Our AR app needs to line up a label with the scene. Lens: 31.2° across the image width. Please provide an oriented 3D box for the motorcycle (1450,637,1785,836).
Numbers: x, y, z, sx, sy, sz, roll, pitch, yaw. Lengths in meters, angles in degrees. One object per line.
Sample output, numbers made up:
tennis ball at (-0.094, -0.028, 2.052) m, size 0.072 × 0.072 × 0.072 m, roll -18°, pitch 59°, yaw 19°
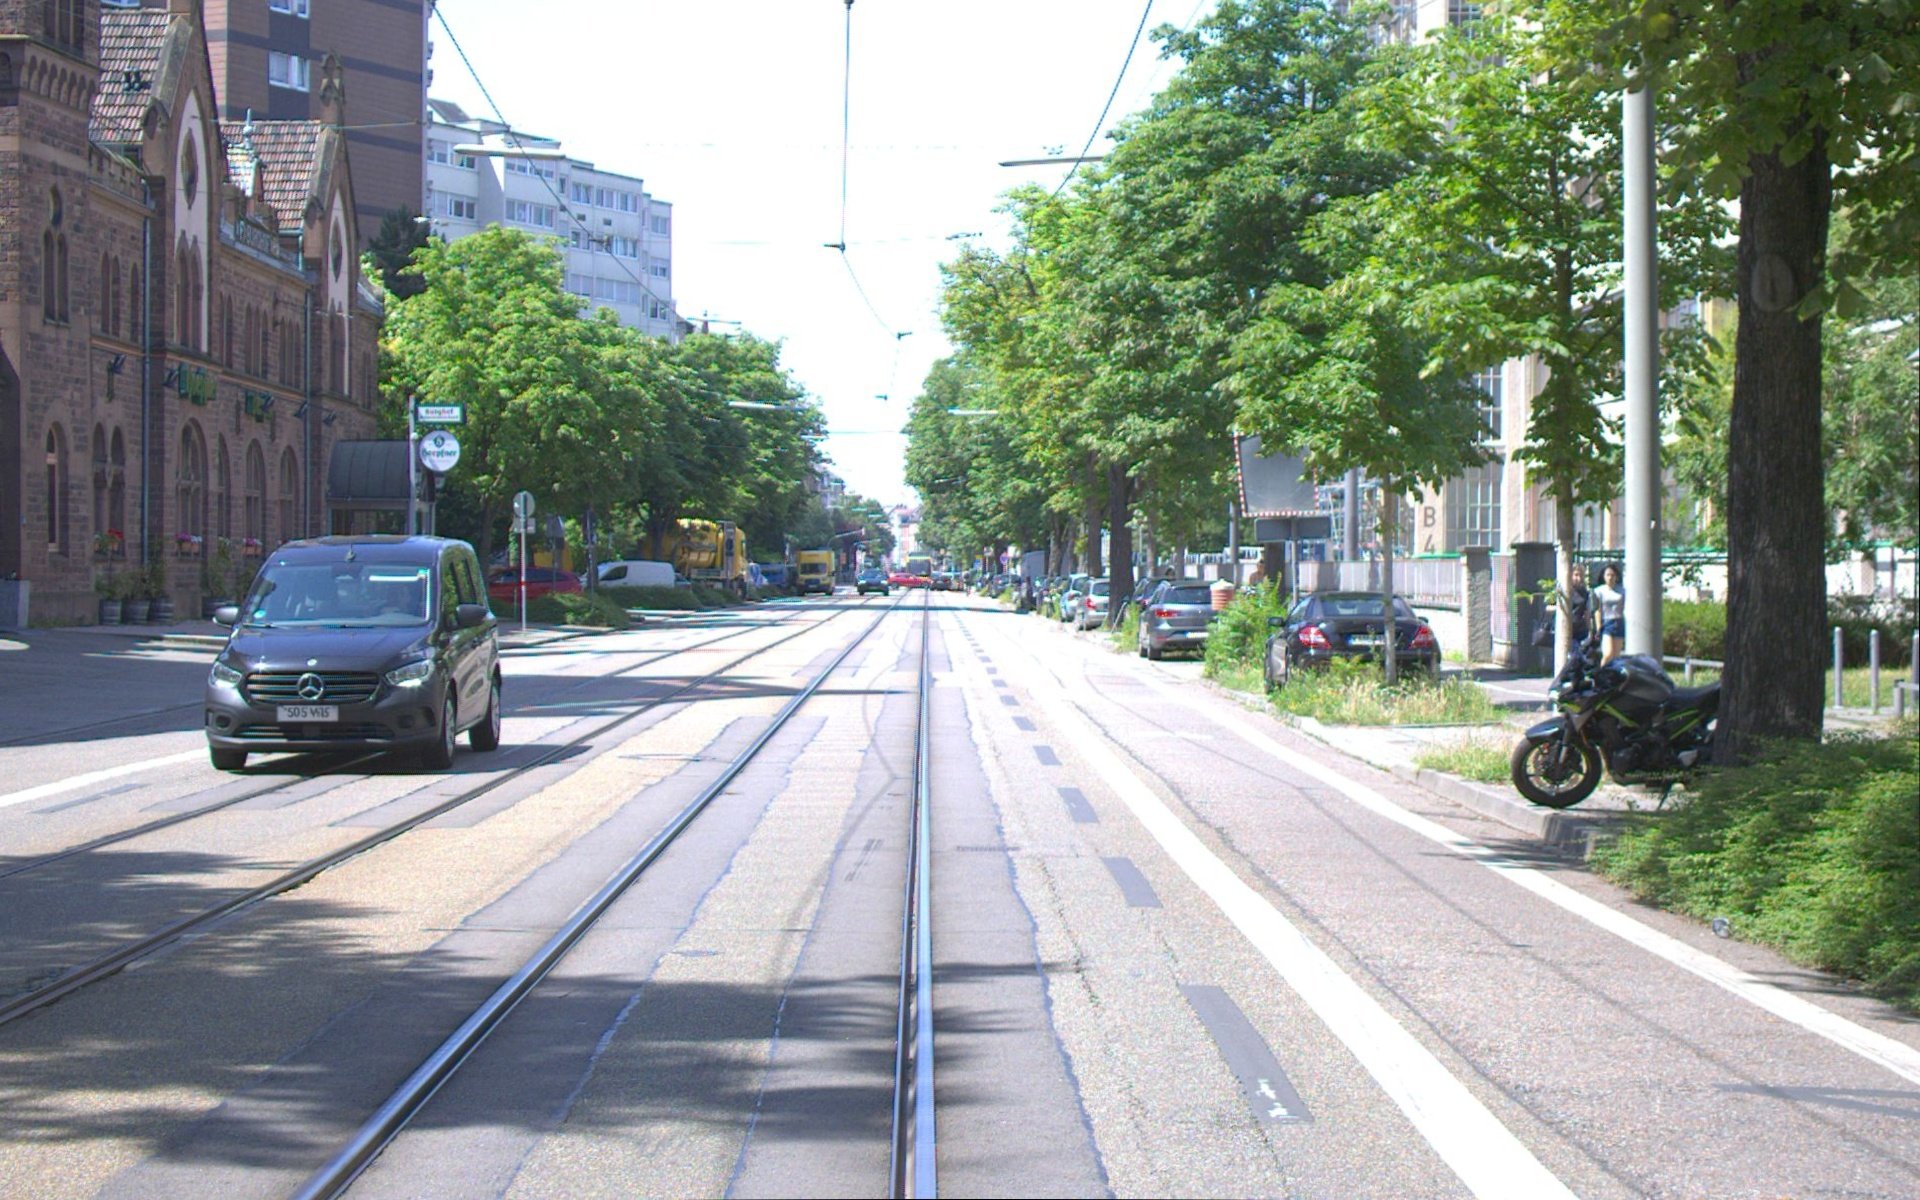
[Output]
motorcycle at (4.209, 0.853, 22.112) m, size 2.060 × 1.208 × 0.611 m, roll 0°, pitch -1°, yaw 39°

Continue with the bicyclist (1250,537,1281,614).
bicyclist at (6.610, -0.529, 74.462) m, size 0.580 × 1.642 × 0.599 m, roll -1°, pitch 1°, yaw 0°

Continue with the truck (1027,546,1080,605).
truck at (4.011, -1.054, 147.978) m, size 2.014 × 2.480 × 5.956 m, roll 0°, pitch 1°, yaw -1°

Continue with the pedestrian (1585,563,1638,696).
pedestrian at (7.793, 0.350, 41.127) m, size 0.513 × 1.568 × 0.544 m, roll -1°, pitch 0°, yaw 0°

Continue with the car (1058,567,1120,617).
car at (3.990, -0.264, 106.527) m, size 1.671 × 1.512 × 4.202 m, roll 0°, pitch 1°, yaw -1°

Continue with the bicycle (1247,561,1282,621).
bicycle at (6.600, -0.196, 74.492) m, size 0.555 × 1.261 × 1.774 m, roll -2°, pitch 1°, yaw 0°

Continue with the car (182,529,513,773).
car at (-4.751, 0.350, 27.253) m, size 1.904 × 1.782 × 4.255 m, roll 0°, pitch 1°, yaw 0°

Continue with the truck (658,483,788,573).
truck at (-11.003, -3.318, 160.975) m, size 2.717 × 3.829 × 10.956 m, roll 2°, pitch 0°, yaw 14°

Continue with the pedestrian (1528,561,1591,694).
pedestrian at (7.175, 0.326, 41.153) m, size 0.618 × 1.568 × 0.611 m, roll -1°, pitch 0°, yaw 0°

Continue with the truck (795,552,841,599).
truck at (-8.882, -1.530, 215.593) m, size 2.360 × 2.843 × 7.378 m, roll -1°, pitch 1°, yaw 1°

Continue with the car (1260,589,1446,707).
car at (4.666, 0.545, 41.306) m, size 1.751 × 1.266 × 3.833 m, roll 2°, pitch 1°, yaw 0°

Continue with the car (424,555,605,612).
car at (-12.822, -0.479, 99.062) m, size 4.764 × 1.561 × 2.002 m, roll 1°, pitch 0°, yaw -28°

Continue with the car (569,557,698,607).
car at (-12.482, -0.673, 131.523) m, size 4.533 × 1.785 × 1.901 m, roll 1°, pitch 1°, yaw -32°

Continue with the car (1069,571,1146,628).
car at (4.000, -0.027, 93.787) m, size 1.671 × 1.494 × 4.366 m, roll 0°, pitch 1°, yaw -3°

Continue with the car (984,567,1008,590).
car at (2.502, -1.498, 242.540) m, size 1.592 × 1.611 × 3.908 m, roll 0°, pitch 0°, yaw -1°

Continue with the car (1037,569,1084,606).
car at (4.025, -0.510, 137.252) m, size 1.824 × 1.466 × 4.400 m, roll 0°, pitch 1°, yaw 2°

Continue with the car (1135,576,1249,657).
car at (4.217, 0.269, 63.147) m, size 1.671 × 1.403 × 4.749 m, roll 0°, pitch 1°, yaw -1°

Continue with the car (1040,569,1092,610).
car at (3.888, -0.413, 126.381) m, size 1.824 × 1.466 × 4.486 m, roll 0°, pitch 1°, yaw 1°

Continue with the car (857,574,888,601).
car at (-5.580, -0.819, 219.466) m, size 1.831 × 1.675 × 4.184 m, roll 0°, pitch 1°, yaw 0°

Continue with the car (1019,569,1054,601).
car at (3.726, -0.752, 167.500) m, size 1.644 × 1.529 × 3.785 m, roll 0°, pitch 1°, yaw 1°

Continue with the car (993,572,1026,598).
car at (2.885, -0.896, 201.417) m, size 1.639 × 1.480 × 3.873 m, roll 0°, pitch 0°, yaw -3°
